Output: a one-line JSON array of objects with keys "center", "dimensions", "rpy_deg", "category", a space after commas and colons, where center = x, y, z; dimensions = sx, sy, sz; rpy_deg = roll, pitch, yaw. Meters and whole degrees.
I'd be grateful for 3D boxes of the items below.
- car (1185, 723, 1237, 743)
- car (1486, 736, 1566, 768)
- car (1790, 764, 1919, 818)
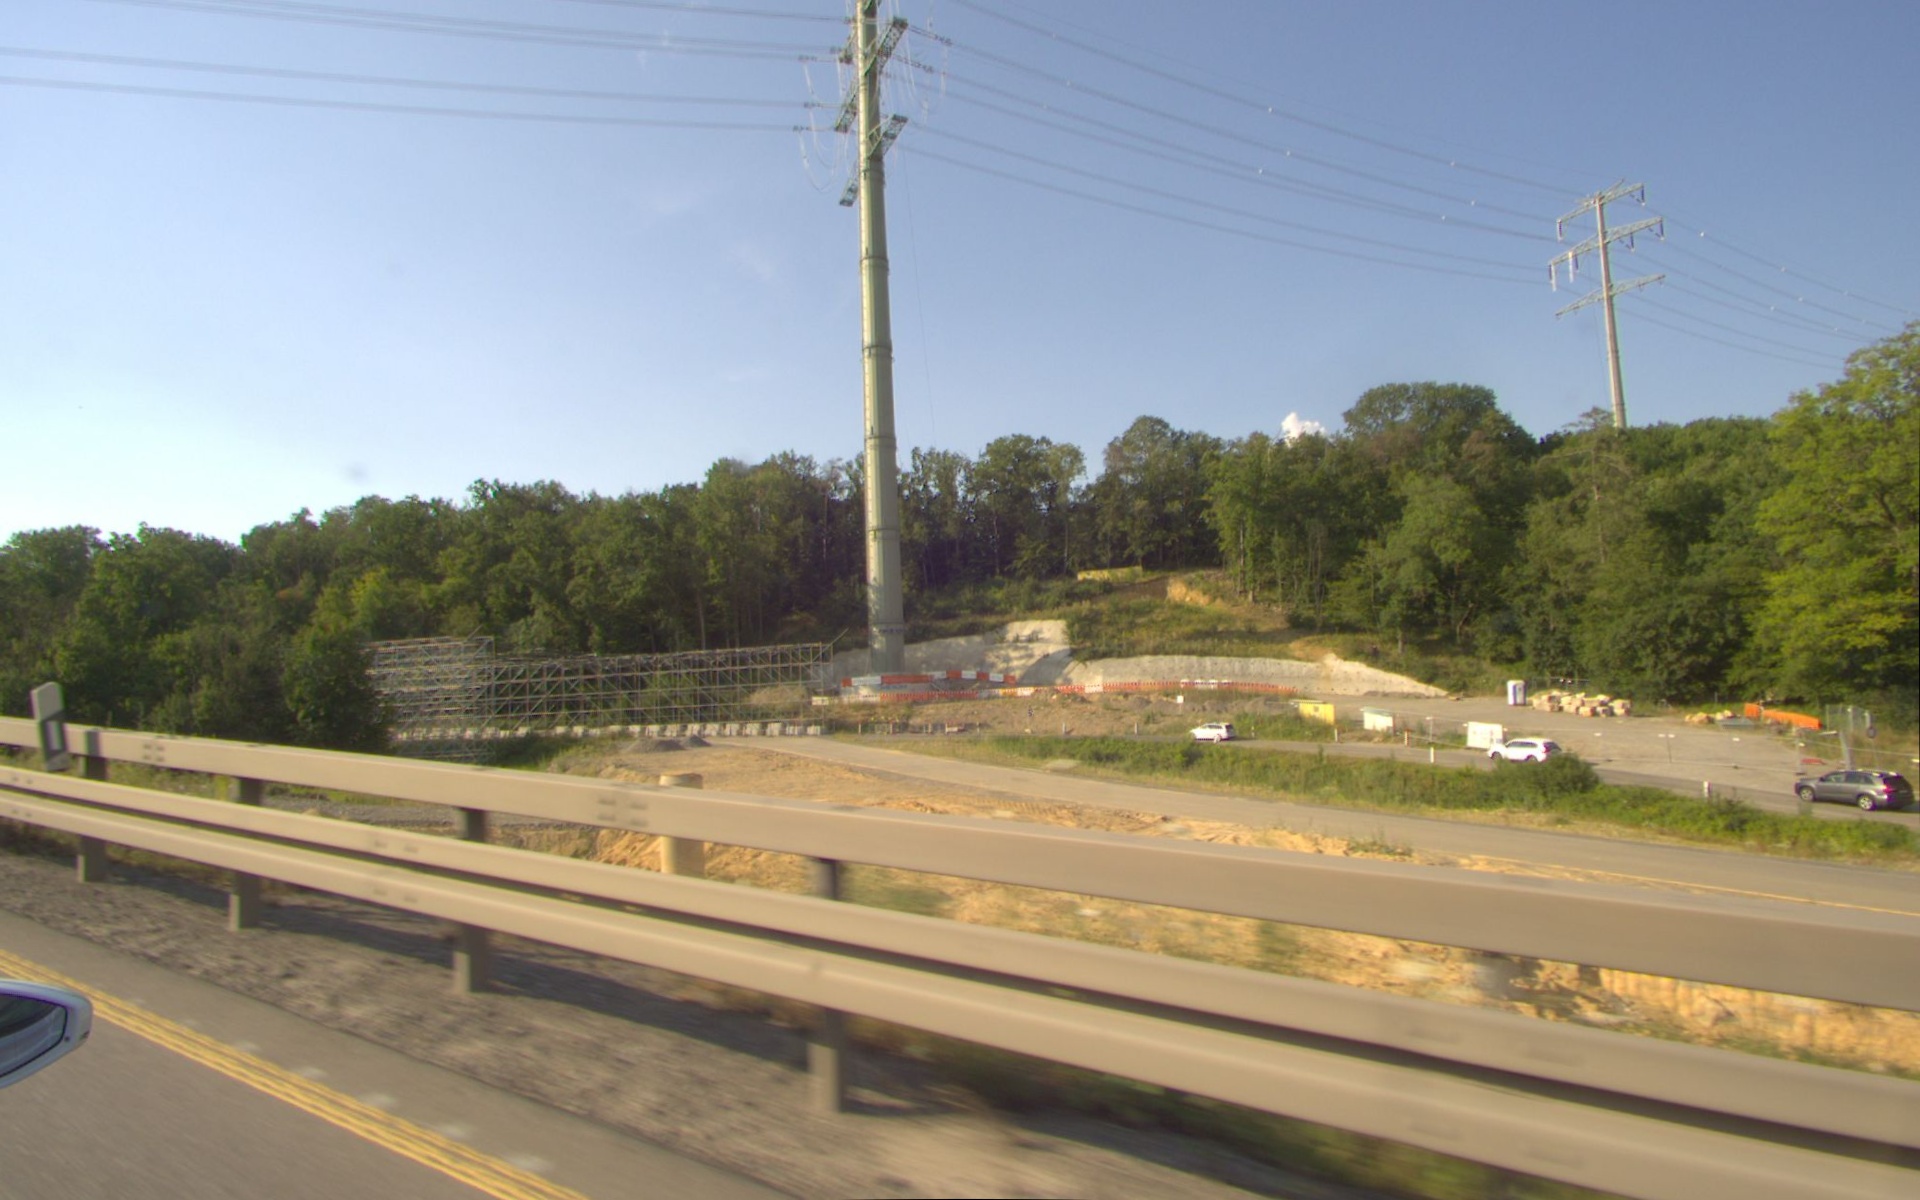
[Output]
[{"center": [22.096, 11.703, 88.336], "dimensions": [4.220, 1.479, 1.519], "rpy_deg": [-3, -2, 40], "category": "car"}, {"center": [36.753, 9.856, 65.144], "dimensions": [1.647, 1.682, 4.459], "rpy_deg": [2, -4, -23], "category": "car"}, {"center": [42.227, 8.933, 47.200], "dimensions": [1.835, 1.807, 4.492], "rpy_deg": [0, -2, -17], "category": "car"}]
